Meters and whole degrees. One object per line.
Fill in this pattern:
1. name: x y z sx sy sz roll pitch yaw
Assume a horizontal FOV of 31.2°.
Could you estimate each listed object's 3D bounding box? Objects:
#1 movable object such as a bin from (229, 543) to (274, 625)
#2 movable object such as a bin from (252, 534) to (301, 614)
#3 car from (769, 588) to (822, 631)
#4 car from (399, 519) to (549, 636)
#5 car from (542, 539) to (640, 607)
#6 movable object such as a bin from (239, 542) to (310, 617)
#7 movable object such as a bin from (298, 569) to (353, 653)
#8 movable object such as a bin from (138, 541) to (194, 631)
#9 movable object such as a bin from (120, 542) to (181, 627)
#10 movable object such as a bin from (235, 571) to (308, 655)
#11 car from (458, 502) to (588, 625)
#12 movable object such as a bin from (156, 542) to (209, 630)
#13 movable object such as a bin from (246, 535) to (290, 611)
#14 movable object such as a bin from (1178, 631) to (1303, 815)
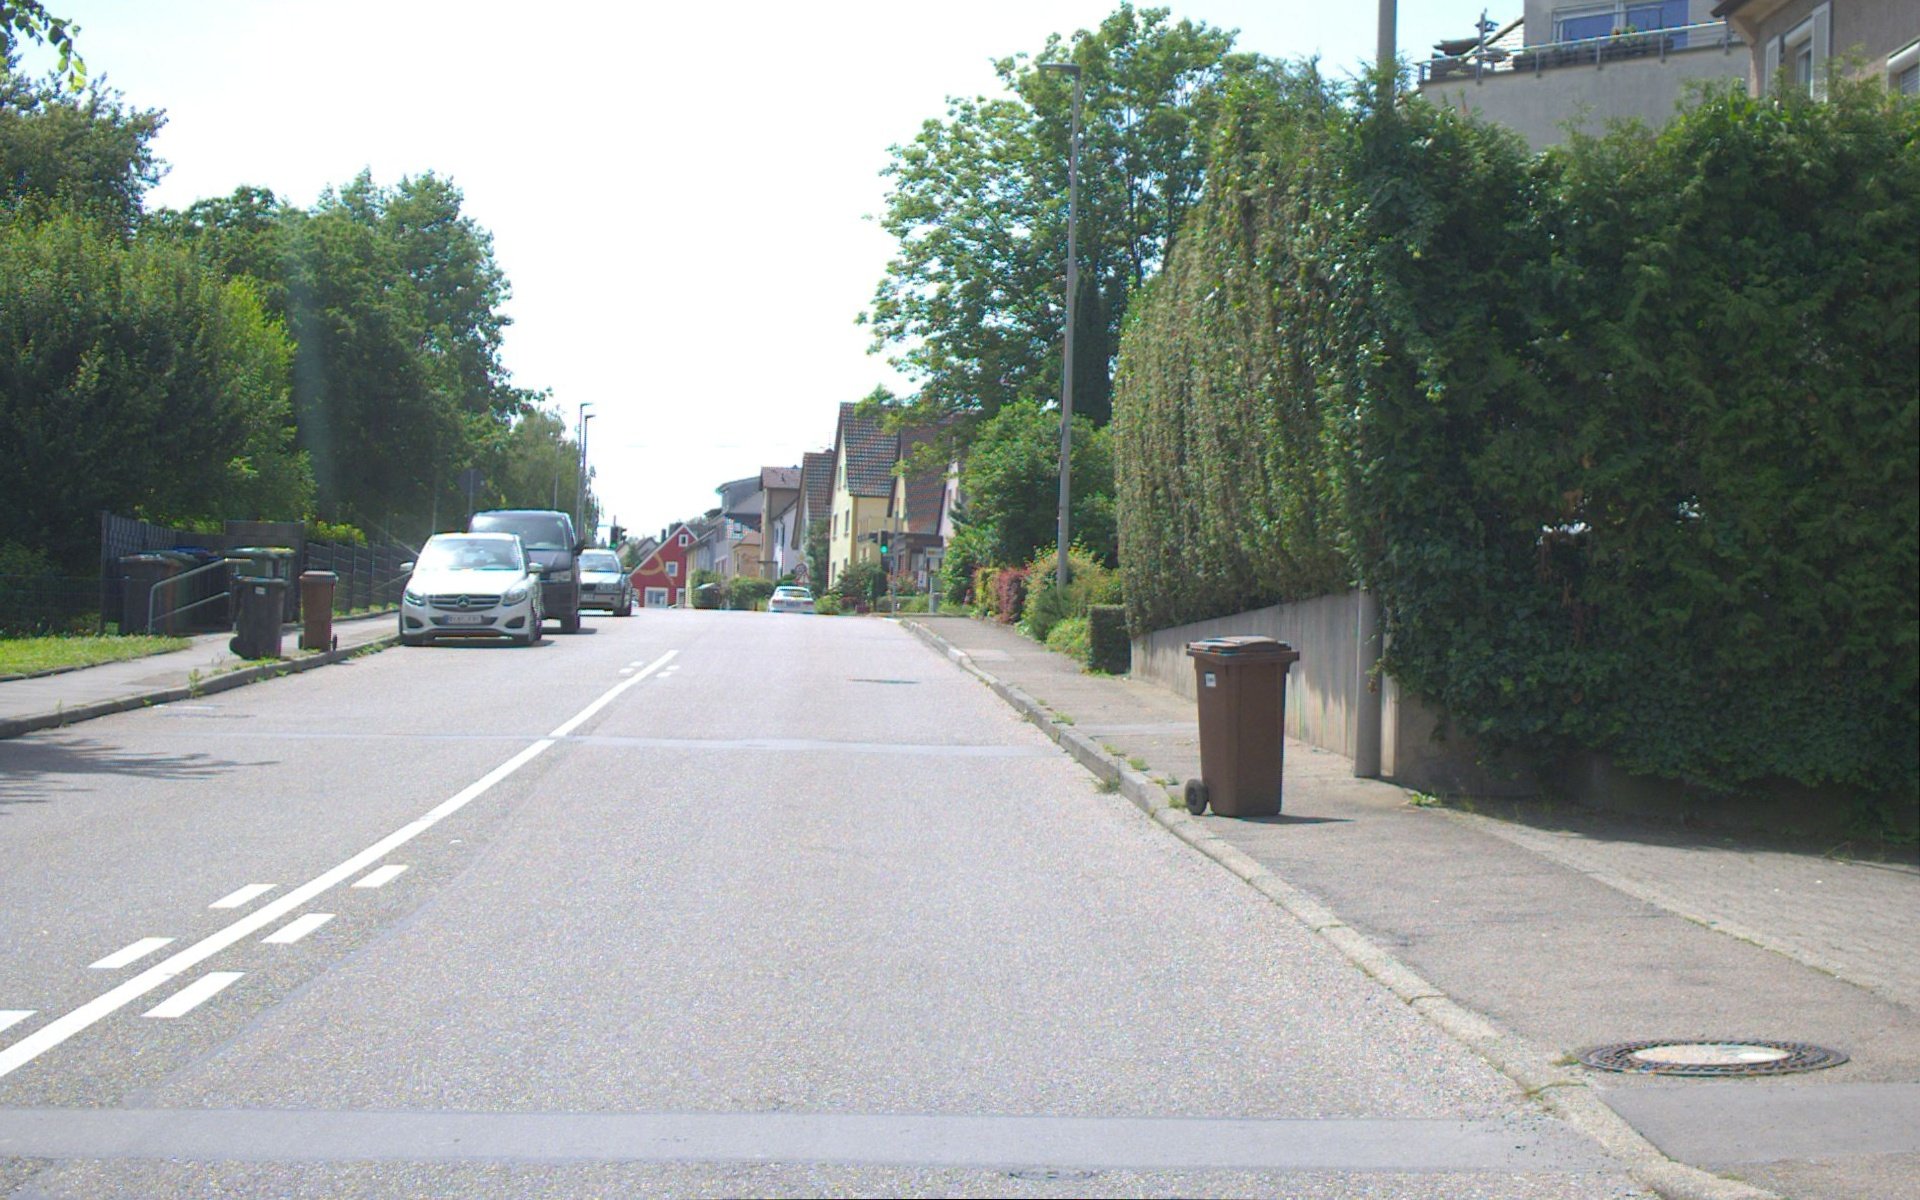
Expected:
1. movable object such as a bin: -9.583 -0.219 46.514 0.516 1.100 0.529 1 1 -3
2. movable object such as a bin: -9.525 -0.364 47.895 0.497 1.101 0.710 0 0 4
3. car: -6.405 0.367 133.713 1.993 1.598 4.001 0 1 -4
4. car: -6.853 -0.346 48.782 1.810 1.544 4.244 2 1 -5
5. car: -7.794 -0.556 72.935 1.780 1.390 4.409 1 0 -2
6. movable object such as a bin: -9.831 -0.295 49.311 0.899 1.066 0.695 1 1 -2
7. movable object such as a bin: -7.581 0.126 41.079 0.506 0.985 0.563 1 1 4
8. movable object such as a bin: -10.607 -0.190 45.931 0.547 1.174 0.674 1 1 3
9. movable object such as a bin: -10.628 -0.204 45.122 0.603 1.092 0.650 1 1 4
10. movable object such as a bin: -7.684 0.137 38.387 0.619 0.914 0.686 1 1 4
11. car: -7.100 -0.613 56.189 1.896 1.913 4.871 0 1 -5
12. movable object such as a bin: -10.564 -0.191 46.730 0.476 1.174 0.840 1 1 3
13. movable object such as a bin: -9.500 -0.365 47.216 0.456 1.040 0.560 0 0 4
14. movable object such as a bin: 1.549 0.669 19.043 0.588 0.974 0.786 -1 1 -3
